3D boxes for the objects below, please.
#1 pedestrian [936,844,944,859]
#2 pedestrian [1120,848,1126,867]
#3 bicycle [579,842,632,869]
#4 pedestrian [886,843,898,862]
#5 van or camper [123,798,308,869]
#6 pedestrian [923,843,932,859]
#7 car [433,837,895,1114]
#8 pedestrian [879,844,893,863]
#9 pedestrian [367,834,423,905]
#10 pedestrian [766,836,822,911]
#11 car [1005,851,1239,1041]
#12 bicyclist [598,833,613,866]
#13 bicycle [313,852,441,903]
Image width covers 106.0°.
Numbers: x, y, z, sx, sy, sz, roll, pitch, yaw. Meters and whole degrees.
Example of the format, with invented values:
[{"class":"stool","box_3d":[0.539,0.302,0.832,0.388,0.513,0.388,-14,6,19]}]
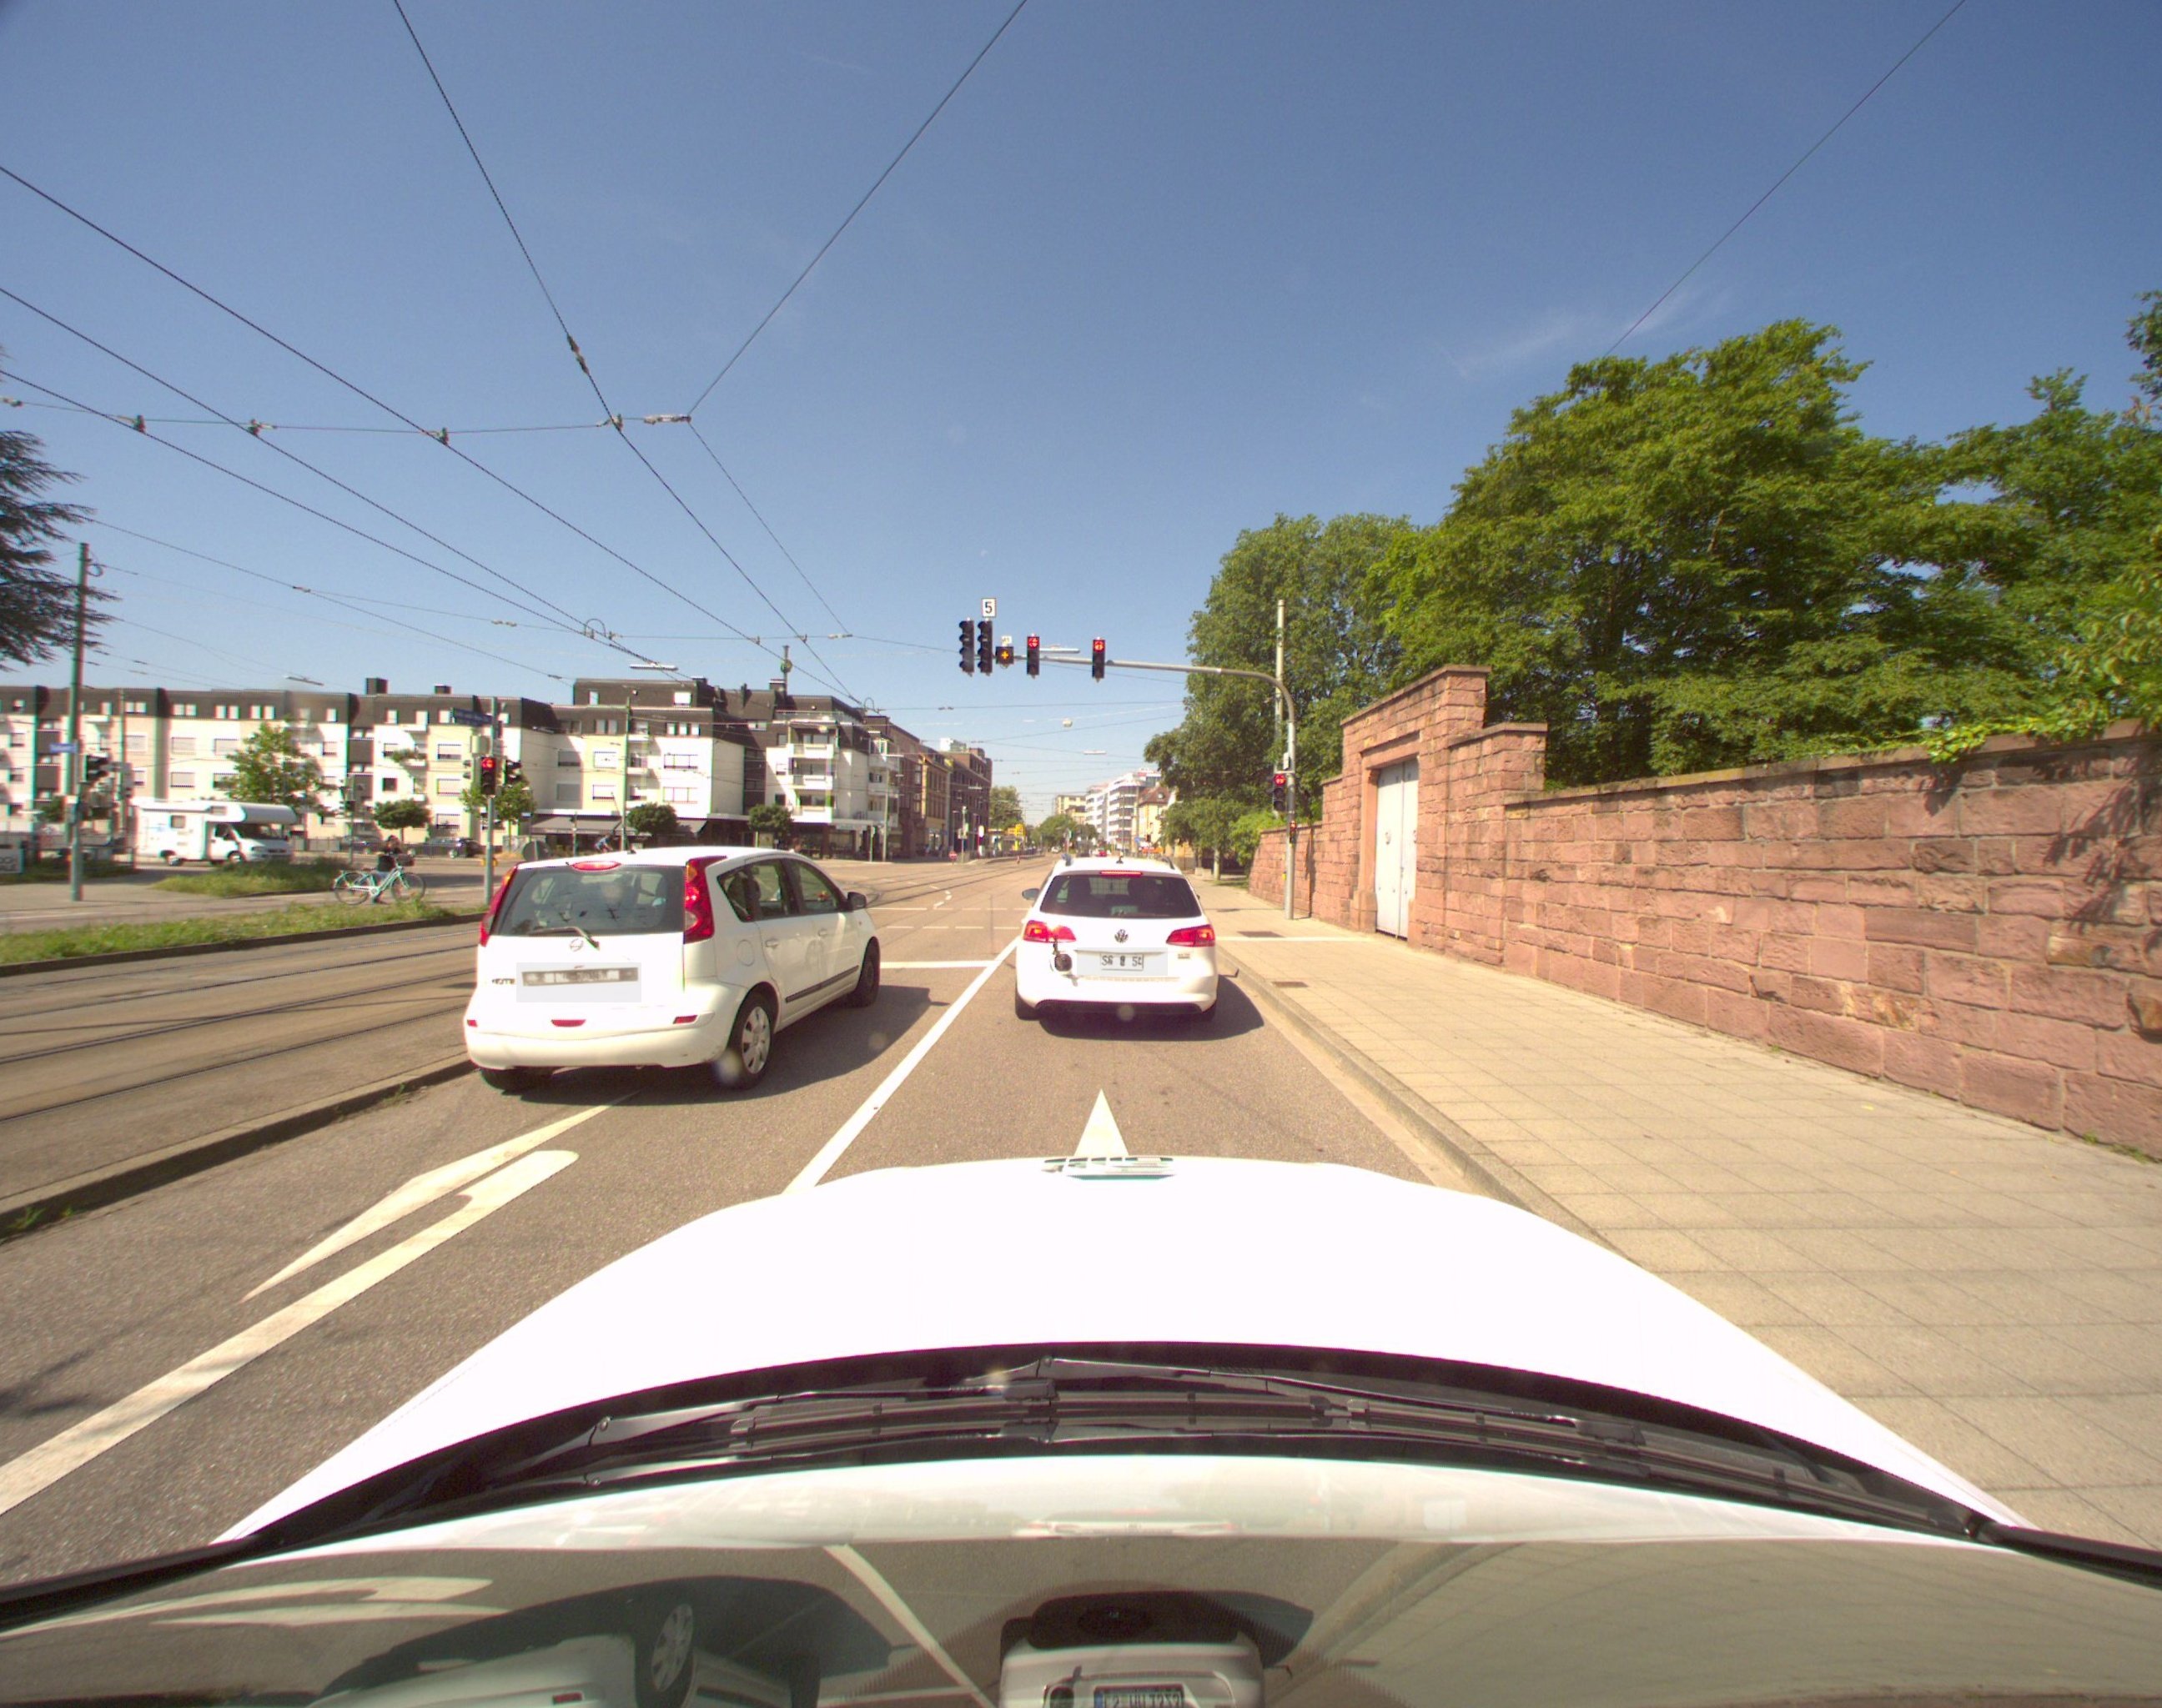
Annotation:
[{"class":"pedestrian","box_3d":[-17.154,-0.284,99.092,0.860,1.743,0.973,-1,-1,-4]},{"class":"pedestrian","box_3d":[5.172,0.458,100.880,0.687,2.325,1.233,-1,-1,3]},{"class":"bicycle","box_3d":[-23.530,0.080,40.305,2.256,1.297,0.554,0,-1,-30]},{"class":"pedestrian","box_3d":[-18.244,-0.127,78.665,0.857,1.743,0.976,-1,-1,4]},{"class":"van or camper","box_3d":[-39.375,-0.885,37.187,5.664,3.093,2.575,-1,-1,0]},{"class":"pedestrian","box_3d":[-17.567,-0.352,93.258,0.860,1.743,0.973,-1,-1,-4]},{"class":"car","box_3d":[-2.805,0.656,6.530,1.636,1.566,3.805,0,1,2]},{"class":"pedestrian","box_3d":[-18.060,-0.009,75.490,0.980,1.743,0.854,0,-1,-43]},{"class":"pedestrian","box_3d":[-15.658,0.337,18.606,0.746,1.571,0.672,0,1,-13]},{"class":"pedestrian","box_3d":[-6.520,0.428,18.550,0.969,1.651,0.955,-1,-1,-3]},{"class":"car","box_3d":[0.370,0.699,8.281,1.801,1.448,4.002,0,0,2]},{"class":"bicyclist","box_3d":[-23.540,-0.232,40.308,0.640,1.612,0.557,0,-1,-29]},{"class":"bicycle","box_3d":[-15.534,0.520,18.016,2.021,1.090,0.707,1,0,-13]}]
